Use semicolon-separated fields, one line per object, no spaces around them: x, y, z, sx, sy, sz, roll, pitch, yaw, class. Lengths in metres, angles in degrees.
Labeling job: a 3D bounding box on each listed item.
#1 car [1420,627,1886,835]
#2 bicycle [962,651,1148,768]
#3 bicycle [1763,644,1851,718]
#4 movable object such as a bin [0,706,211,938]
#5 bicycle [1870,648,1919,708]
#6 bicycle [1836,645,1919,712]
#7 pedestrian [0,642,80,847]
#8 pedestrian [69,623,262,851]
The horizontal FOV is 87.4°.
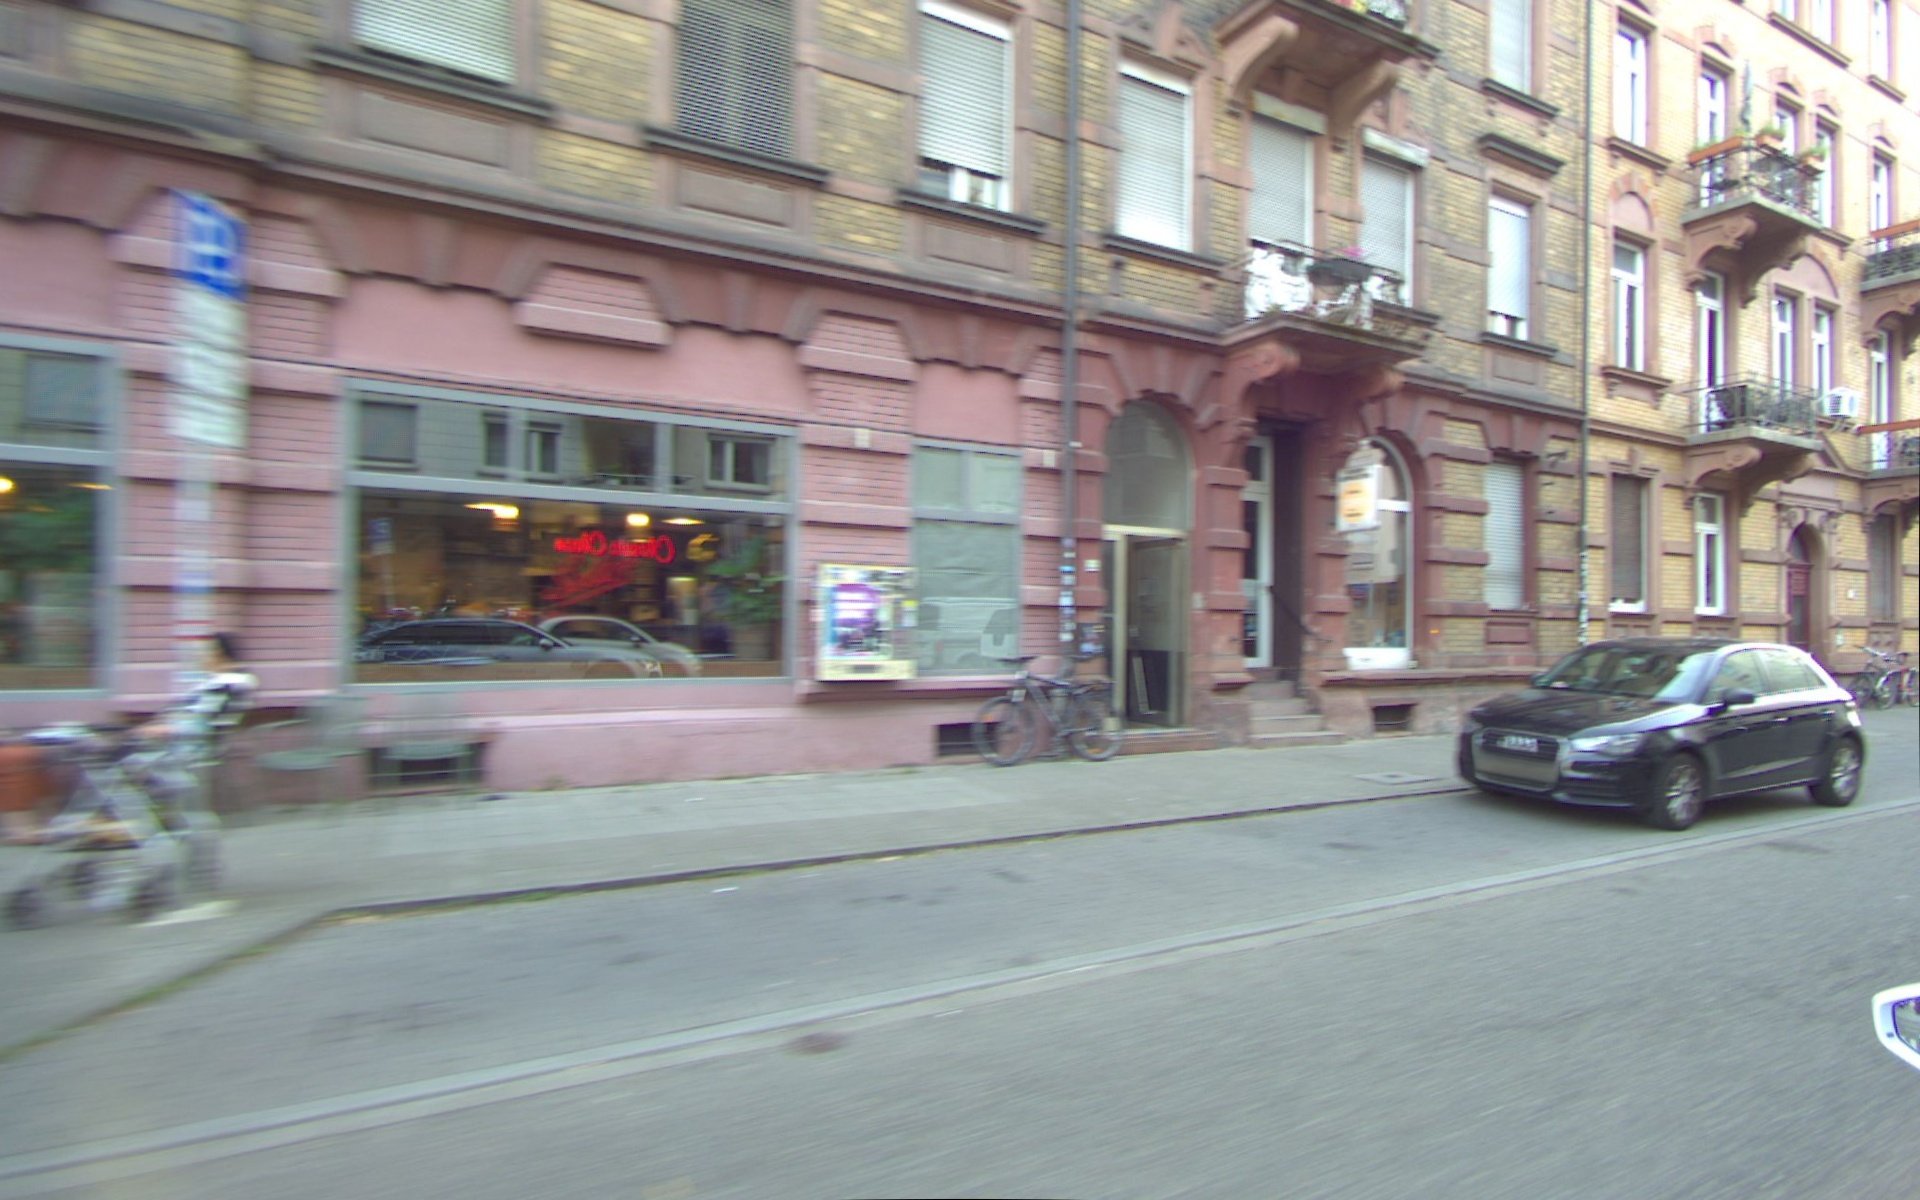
6.047;0.983;8.739;3.803;1.439;1.688;1;0;-26;car
0.964;1.049;9.949;1.872;1.067;0.424;1;-1;-25;bicycle
14.317;1.342;16.971;1.594;1.138;0.733;1;0;-35;bicycle
-4.112;1.012;4.823;0.721;0.928;0.757;3;-1;-31;movable object such as a bin
18.294;1.481;19.341;1.737;1.051;0.546;1;2;-28;bicycle
17.075;1.440;18.684;1.737;1.138;0.546;1;2;-28;bicycle
-5.804;0.837;5.922;0.781;1.158;0.501;2;-1;-27;pedestrian
-5.001;0.806;6.330;0.902;1.271;0.641;0;2;-44;pedestrian
